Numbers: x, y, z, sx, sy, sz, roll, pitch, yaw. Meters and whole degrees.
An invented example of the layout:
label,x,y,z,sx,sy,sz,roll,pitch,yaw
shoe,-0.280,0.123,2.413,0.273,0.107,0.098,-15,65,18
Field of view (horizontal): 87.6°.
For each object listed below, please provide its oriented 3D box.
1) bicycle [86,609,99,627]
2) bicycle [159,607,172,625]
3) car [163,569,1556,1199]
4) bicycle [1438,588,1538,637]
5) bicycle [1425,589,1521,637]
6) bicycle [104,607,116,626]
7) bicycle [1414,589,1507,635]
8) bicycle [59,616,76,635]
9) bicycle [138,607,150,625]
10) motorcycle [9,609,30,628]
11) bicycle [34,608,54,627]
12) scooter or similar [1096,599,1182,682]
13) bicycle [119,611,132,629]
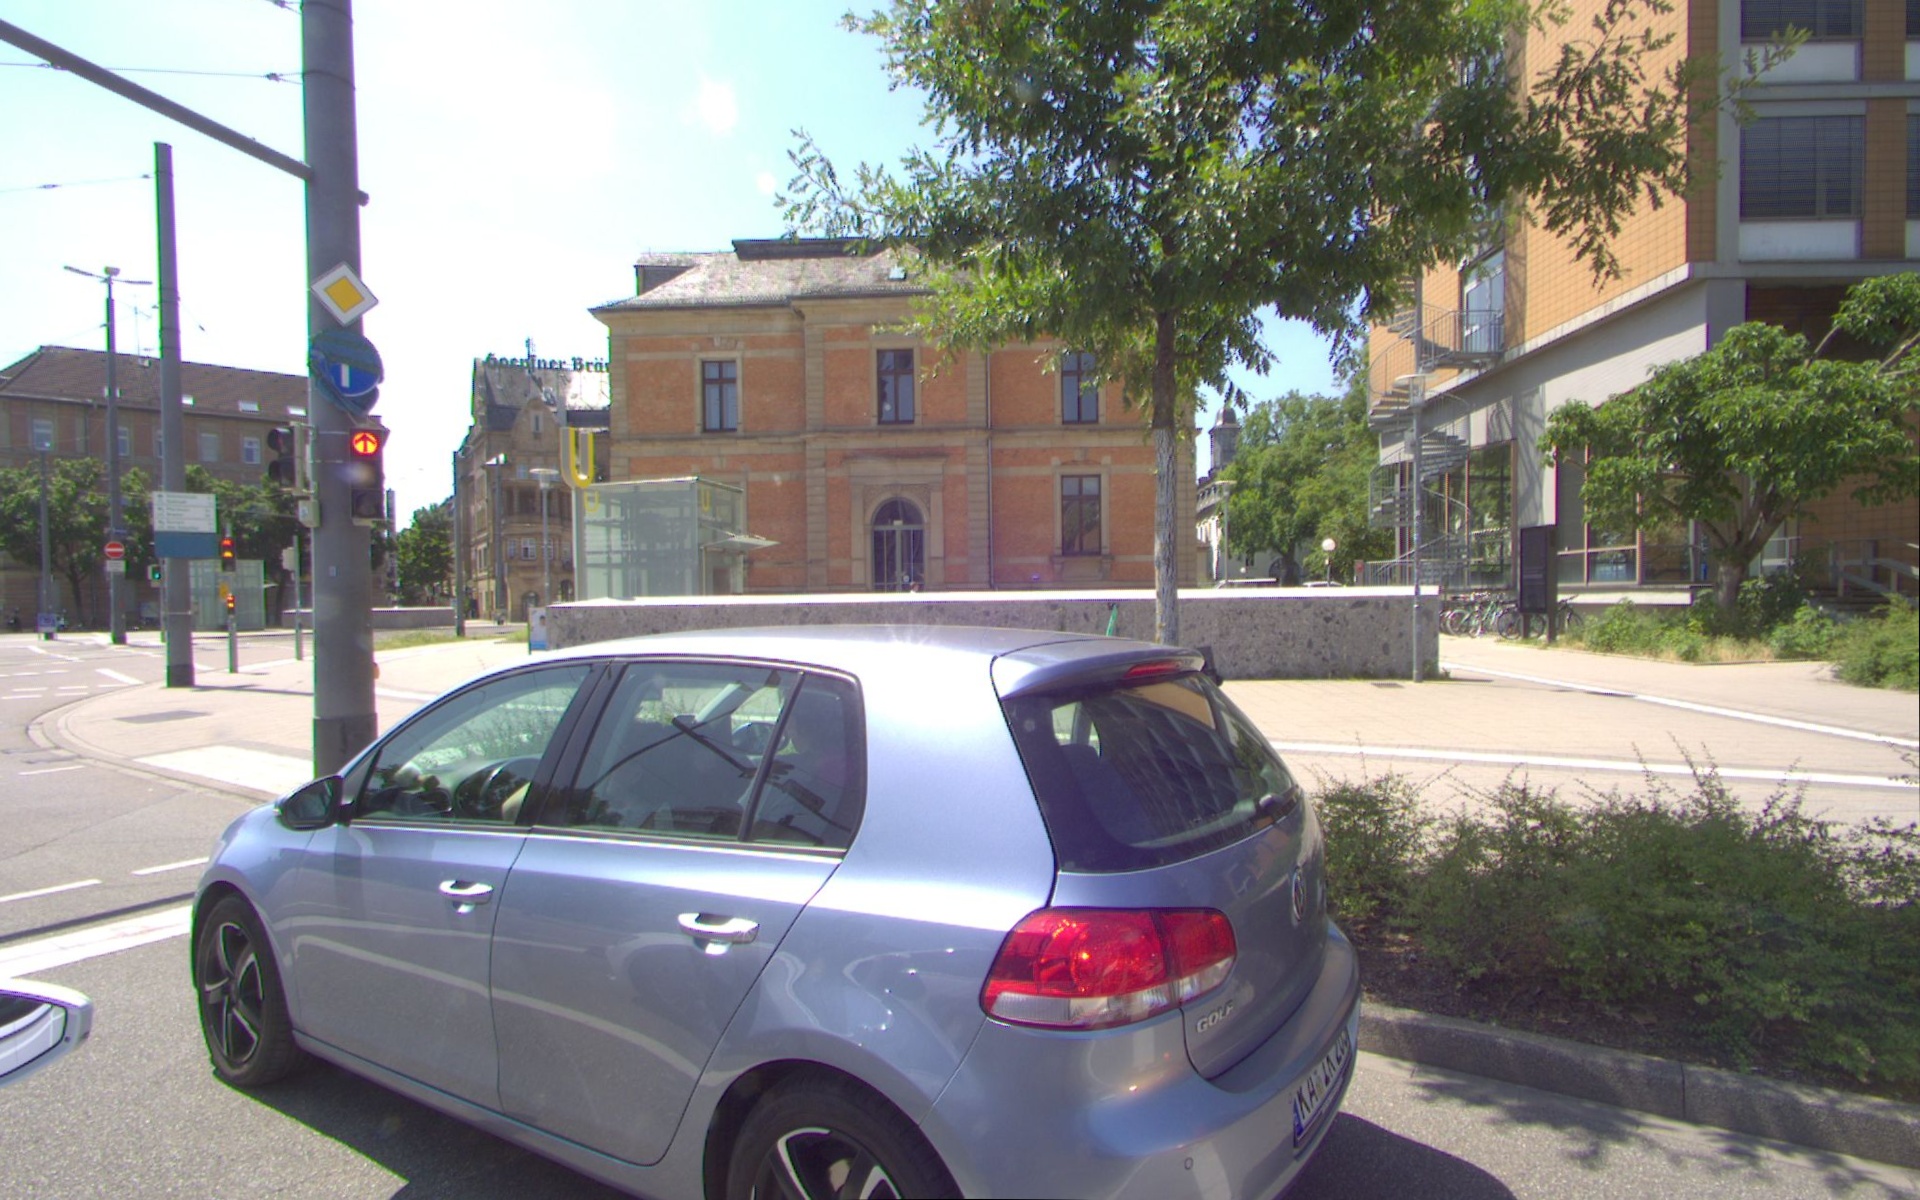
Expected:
label,x,y,z,sx,sy,sz,roll,pitch,yaw
bicycle,-54.044,1.116,62.375,0.547,1.135,1.804,-1,1,-41
bicycle,-52.208,1.044,65.776,0.547,1.135,1.912,-1,1,-41
car,-0.539,0.736,2.969,3.946,1.478,1.648,0,-1,32
bicycle,13.492,0.323,25.612,2.175,1.234,0.637,0,-1,5
bicycle,13.592,0.357,26.581,2.175,1.234,0.637,0,-1,5
bicycle,-53.437,1.022,62.926,0.547,1.135,1.804,-1,1,-41
bicycle,13.604,0.331,27.254,2.175,1.234,0.637,0,-1,5
bicycle,-55.035,1.565,61.741,2.069,1.160,0.440,-2,-2,39
bicycle,-52.705,1.035,64.686,0.547,1.135,1.854,-1,1,-41
motorcycle,-56.183,1.104,59.817,1.920,1.089,0.578,0,1,36
bicycle,-55.564,1.047,60.738,1.797,1.135,0.549,0,1,38
scooter or similar,2.643,0.585,14.741,1.227,1.186,0.458,0,1,13
bicycle,-52.926,1.259,63.493,0.547,1.135,1.872,-1,1,-41
